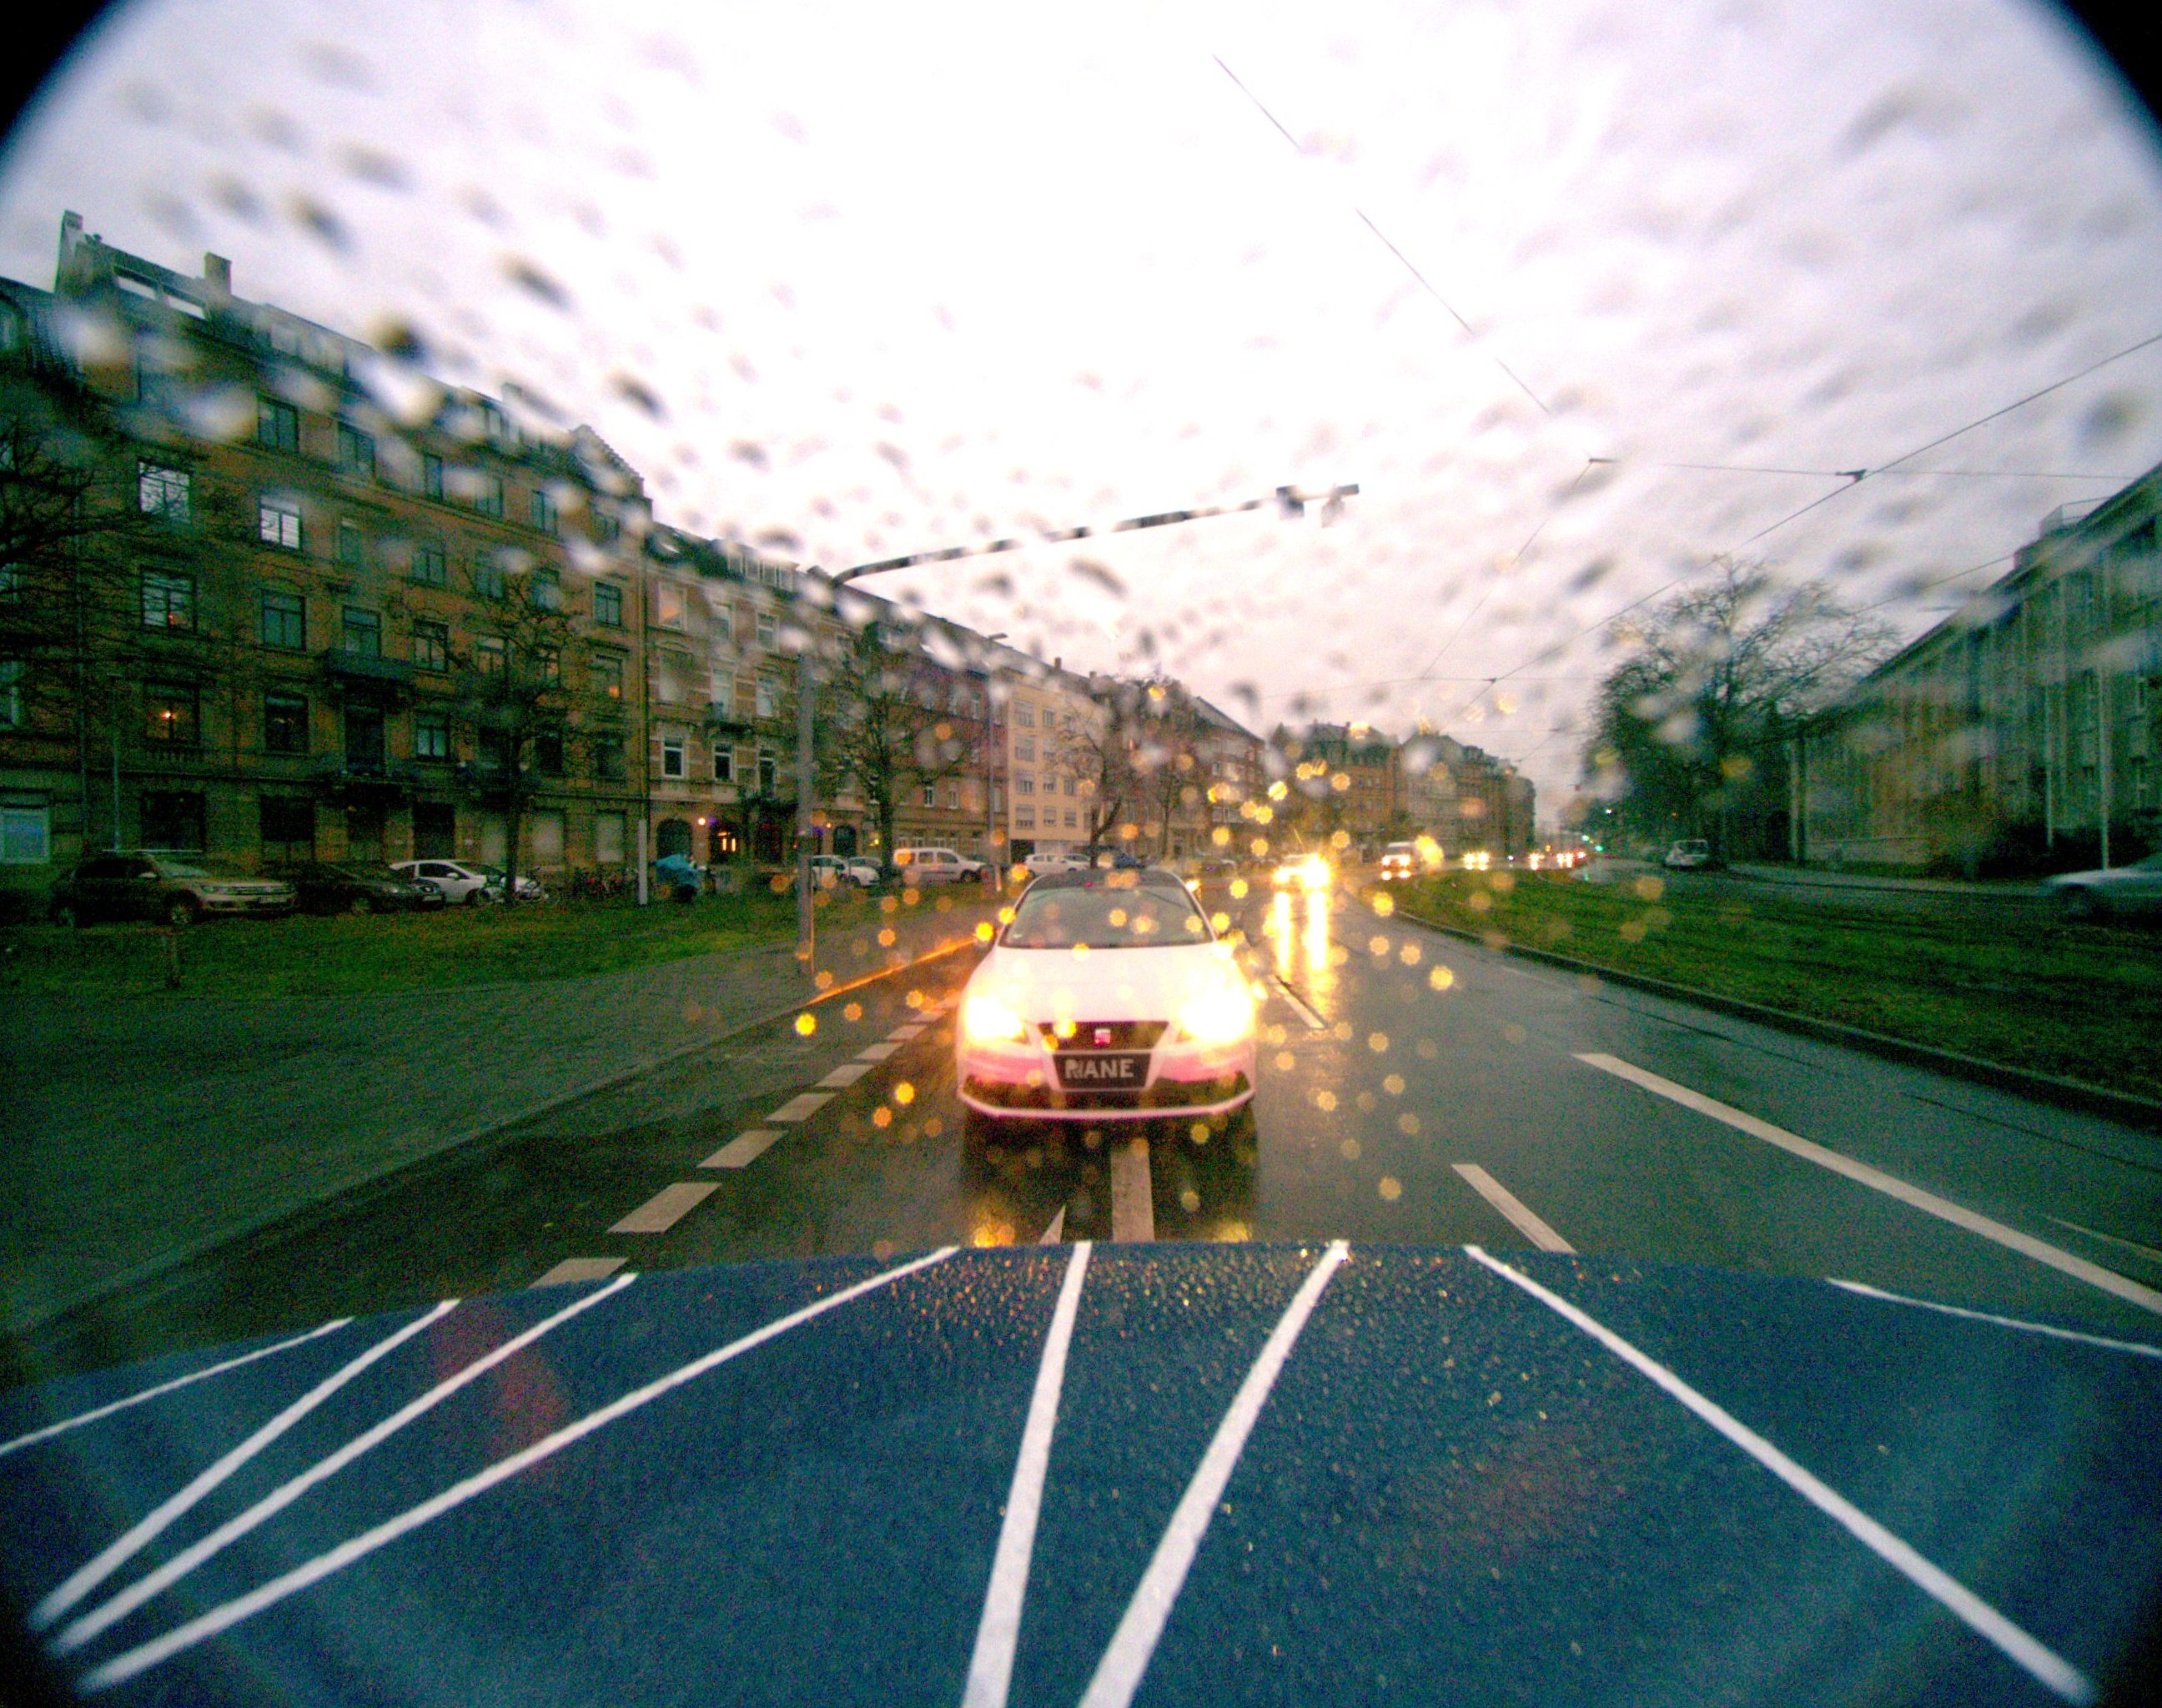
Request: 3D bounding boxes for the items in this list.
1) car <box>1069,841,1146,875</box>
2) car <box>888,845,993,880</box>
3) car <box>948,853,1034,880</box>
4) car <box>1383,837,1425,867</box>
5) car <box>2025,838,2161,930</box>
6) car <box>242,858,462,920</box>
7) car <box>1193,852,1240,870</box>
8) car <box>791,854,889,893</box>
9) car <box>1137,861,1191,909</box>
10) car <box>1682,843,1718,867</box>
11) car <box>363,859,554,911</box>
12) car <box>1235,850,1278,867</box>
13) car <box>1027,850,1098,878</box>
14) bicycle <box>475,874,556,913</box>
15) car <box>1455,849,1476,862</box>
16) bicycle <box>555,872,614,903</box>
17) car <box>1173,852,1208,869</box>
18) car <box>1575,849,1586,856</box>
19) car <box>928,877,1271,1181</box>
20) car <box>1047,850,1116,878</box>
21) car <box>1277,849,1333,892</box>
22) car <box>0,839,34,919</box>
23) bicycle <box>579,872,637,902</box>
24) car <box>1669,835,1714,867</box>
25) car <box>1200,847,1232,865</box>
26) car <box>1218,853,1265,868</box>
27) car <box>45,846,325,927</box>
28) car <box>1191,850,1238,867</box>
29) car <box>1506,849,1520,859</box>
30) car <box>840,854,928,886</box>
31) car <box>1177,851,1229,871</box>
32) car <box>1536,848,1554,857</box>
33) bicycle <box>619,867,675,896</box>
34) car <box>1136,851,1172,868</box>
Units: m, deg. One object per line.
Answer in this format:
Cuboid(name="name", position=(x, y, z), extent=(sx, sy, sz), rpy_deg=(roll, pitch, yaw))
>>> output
Cuboid(name="car", position=(1.633, 0.267, 48.441), extent=(4.720, 1.971, 1.799), rpy_deg=(-2, 0, -2))
Cuboid(name="car", position=(-6.685, 0.400, 36.423), extent=(4.659, 1.583, 1.778), rpy_deg=(1, 1, 3))
Cuboid(name="car", position=(-4.536, 0.644, 38.624), extent=(4.058, 1.227, 1.771), rpy_deg=(1, -1, 5))
Cuboid(name="car", position=(27.641, -0.240, 64.929), extent=(2.125, 2.366, 5.649), rpy_deg=(-3, 0, 34))
Cuboid(name="car", position=(18.359, 0.477, 11.849), extent=(1.824, 1.426, 4.658), rpy_deg=(-3, 0, 8))
Cuboid(name="car", position=(-17.925, 0.843, 18.811), extent=(3.742, 1.346, 1.677), rpy_deg=(-2, -1, -2))
Cuboid(name="car", position=(11.415, 0.621, 64.028), extent=(3.760, 1.324, 1.603), rpy_deg=(-3, 0, 11))
Cuboid(name="car", position=(-9.988, 0.803, 31.593), extent=(3.462, 1.434, 1.615), rpy_deg=(-2, 0, 6))
Cuboid(name="car", position=(2.592, 0.942, 24.288), extent=(1.589, 1.418, 3.135), rpy_deg=(-1, 0, 4))
Cuboid(name="car", position=(39.353, 0.060, 48.352), extent=(1.557, 1.420, 2.960), rpy_deg=(-1, 1, 36))
Cuboid(name="car", position=(-17.196, 0.825, 21.116), extent=(3.856, 1.329, 1.698), rpy_deg=(-1, 0, -1))
Cuboid(name="car", position=(15.944, 0.436, 69.244), extent=(3.760, 1.346, 1.603), rpy_deg=(-3, 0, 11))
Cuboid(name="car", position=(-1.036, 0.565, 43.616), extent=(3.770, 1.424, 1.762), rpy_deg=(-3, 0, 9))
Cuboid(name="bicycle", position=(-14.452, 0.993, 19.461), extent=(1.655, 0.931, 0.513), rpy_deg=(0, 0, -35))
Cuboid(name="car", position=(53.468, 0.200, 105.623), extent=(1.646, 1.740, 3.562), rpy_deg=(0, 1, 42))
Cuboid(name="bicycle", position=(-16.165, 1.097, 24.729), extent=(2.165, 0.960, 0.627), rpy_deg=(-2, -2, 28))
Cuboid(name="car", position=(10.924, 0.608, 75.583), extent=(1.690, 1.534, 4.008), rpy_deg=(-3, 0, 38))
Cuboid(name="car", position=(134.789, -0.477, 205.120), extent=(1.948, 1.804, 4.008), rpy_deg=(-1, 0, 43))
Cuboid(name="car", position=(0.155, 0.971, 5.786), extent=(1.715, 1.404, 3.680), rpy_deg=(-3, 0, 2))
Cuboid(name="car", position=(0.028, 0.594, 45.699), extent=(3.998, 1.406, 1.641), rpy_deg=(-3, 0, -2))
Cuboid(name="car", position=(10.017, 0.691, 33.764), extent=(1.672, 1.650, 4.154), rpy_deg=(-3, 0, 25))
Cuboid(name="car", position=(-29.075, 0.636, 17.900), extent=(1.994, 2.002, 4.997), rpy_deg=(1, 1, 32))
Cuboid(name="bicycle", position=(-15.794, 1.104, 25.350), extent=(2.165, 0.960, 0.627), rpy_deg=(-2, -2, 28))
Cuboid(name="car", position=(41.829, -0.228, 52.114), extent=(1.995, 2.002, 4.518), rpy_deg=(-3, 0, 34))
Cuboid(name="car", position=(14.274, 0.167, 80.209), extent=(1.670, 1.693, 3.472), rpy_deg=(-3, 0, 40))
Cuboid(name="car", position=(13.865, 0.573, 65.688), extent=(3.762, 1.271, 1.602), rpy_deg=(-1, 0, 5))
Cuboid(name="car", position=(-19.534, 0.653, 16.699), extent=(3.996, 1.627, 1.944), rpy_deg=(0, 1, 4))
Cuboid(name="car", position=(10.923, 0.350, 62.237), extent=(3.760, 1.325, 1.603), rpy_deg=(-1, 1, 11))
Cuboid(name="car", position=(69.792, -0.070, 122.749), extent=(1.719, 1.608, 3.946), rpy_deg=(-1, 0, 32))
Cuboid(name="car", position=(-8.796, 0.715, 34.120), extent=(3.430, 1.343, 1.664), rpy_deg=(-1, 0, 2))
Cuboid(name="car", position=(9.536, 0.536, 59.757), extent=(3.869, 1.397, 1.695), rpy_deg=(-3, 0, 6))
Cuboid(name="car", position=(77.027, -0.285, 126.160), extent=(1.892, 1.405, 3.955), rpy_deg=(0, 0, 42))
Cuboid(name="bicycle", position=(-15.095, 0.951, 26.393), extent=(2.165, 0.960, 0.627), rpy_deg=(0, 1, 28))
Cuboid(name="car", position=(6.807, 0.505, 70.323), extent=(1.470, 1.534, 3.880), rpy_deg=(0, 1, 38))
